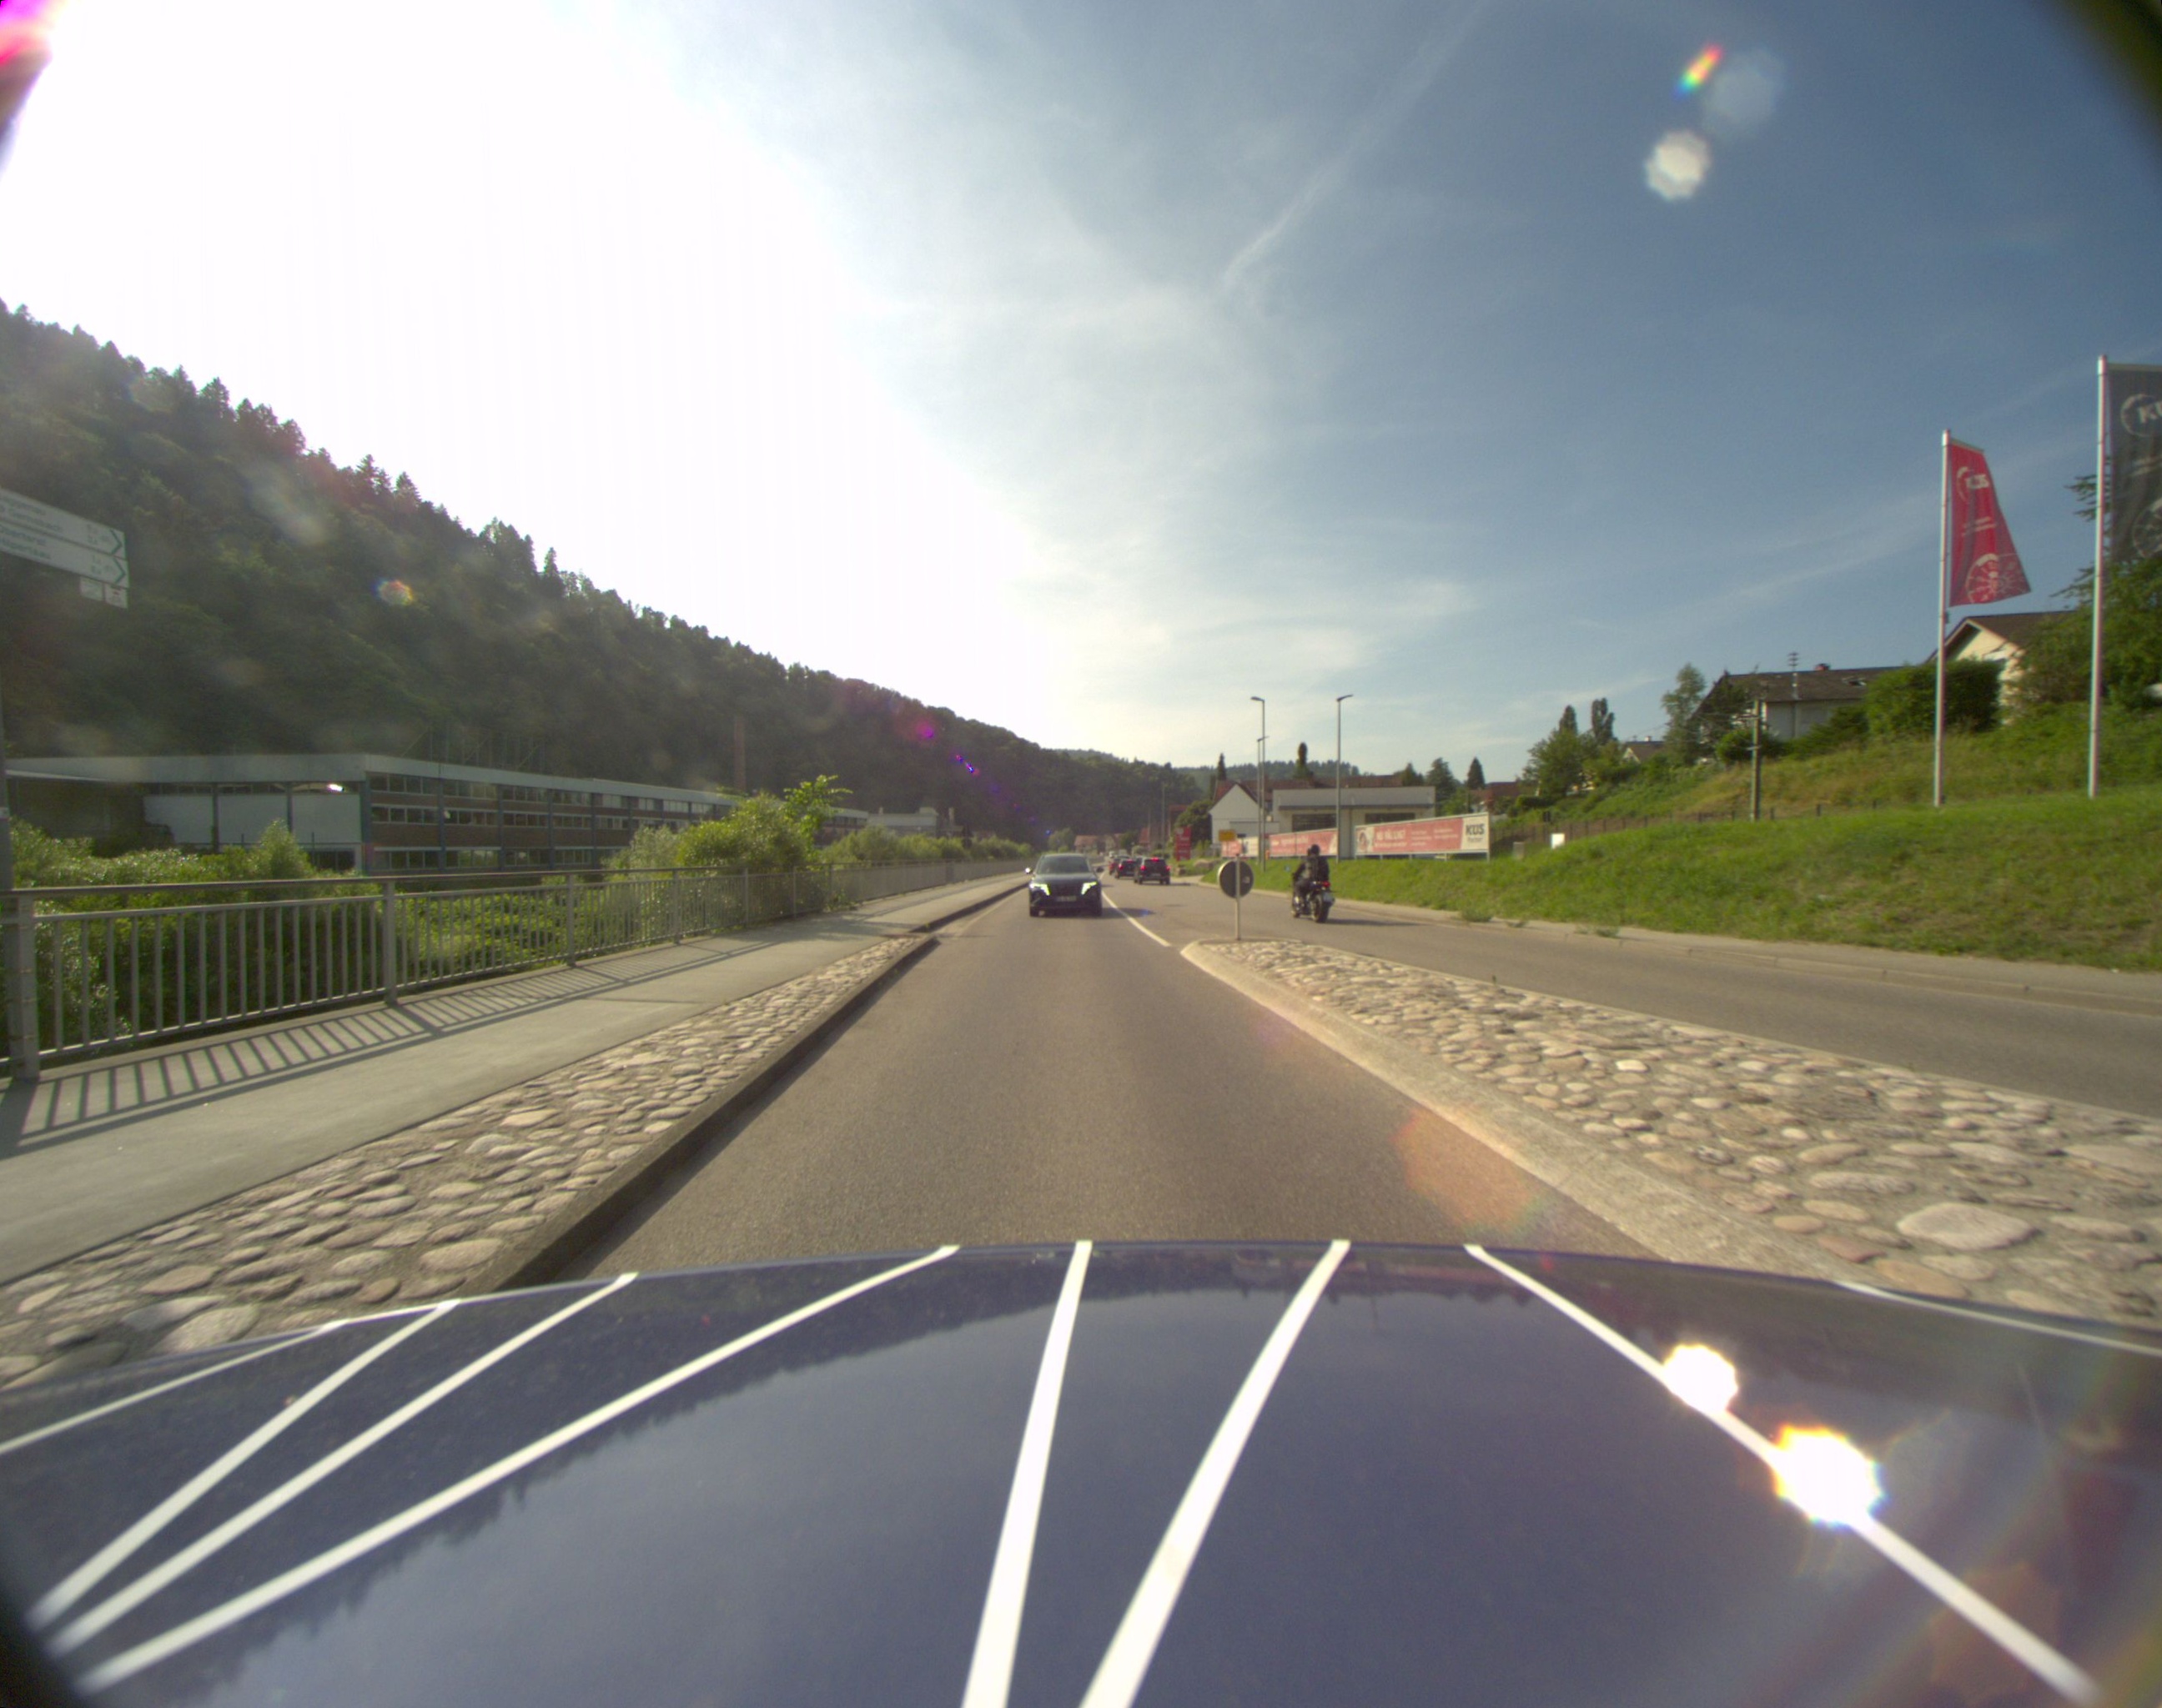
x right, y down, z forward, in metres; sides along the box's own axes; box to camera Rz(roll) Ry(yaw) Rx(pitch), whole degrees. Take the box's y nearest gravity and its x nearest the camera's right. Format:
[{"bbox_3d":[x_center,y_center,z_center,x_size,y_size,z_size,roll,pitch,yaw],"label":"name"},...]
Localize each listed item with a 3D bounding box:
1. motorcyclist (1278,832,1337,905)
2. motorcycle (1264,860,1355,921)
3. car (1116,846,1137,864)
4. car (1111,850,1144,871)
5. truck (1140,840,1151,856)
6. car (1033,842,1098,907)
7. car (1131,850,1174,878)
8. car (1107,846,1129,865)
[{"bbox_3d":[4.858,0.308,16.332,0.908,1.510,0.846,-1,0,-11],"label":"motorcyclist"},{"bbox_3d":[4.853,0.743,16.364,0.898,1.177,2.303,-1,0,-11],"label":"motorcycle"},{"bbox_3d":[5.031,0.063,84.595,1.901,1.876,5.294,-2,1,0],"label":"car"},{"bbox_3d":[3.352,0.455,55.244,1.780,1.399,4.270,2,0,-4],"label":"car"},{"bbox_3d":[16.024,-1.531,190.505,2.584,3.909,11.308,0,1,4],"label":"truck"},{"bbox_3d":[-0.471,0.517,21.979,1.649,1.639,3.999,-2,1,-2],"label":"car"},{"bbox_3d":[4.075,0.534,43.685,1.780,1.507,4.270,-1,0,-4],"label":"car"},{"bbox_3d":[3.302,0.099,68.491,1.710,1.574,4.158,-2,0,-1],"label":"car"}]
